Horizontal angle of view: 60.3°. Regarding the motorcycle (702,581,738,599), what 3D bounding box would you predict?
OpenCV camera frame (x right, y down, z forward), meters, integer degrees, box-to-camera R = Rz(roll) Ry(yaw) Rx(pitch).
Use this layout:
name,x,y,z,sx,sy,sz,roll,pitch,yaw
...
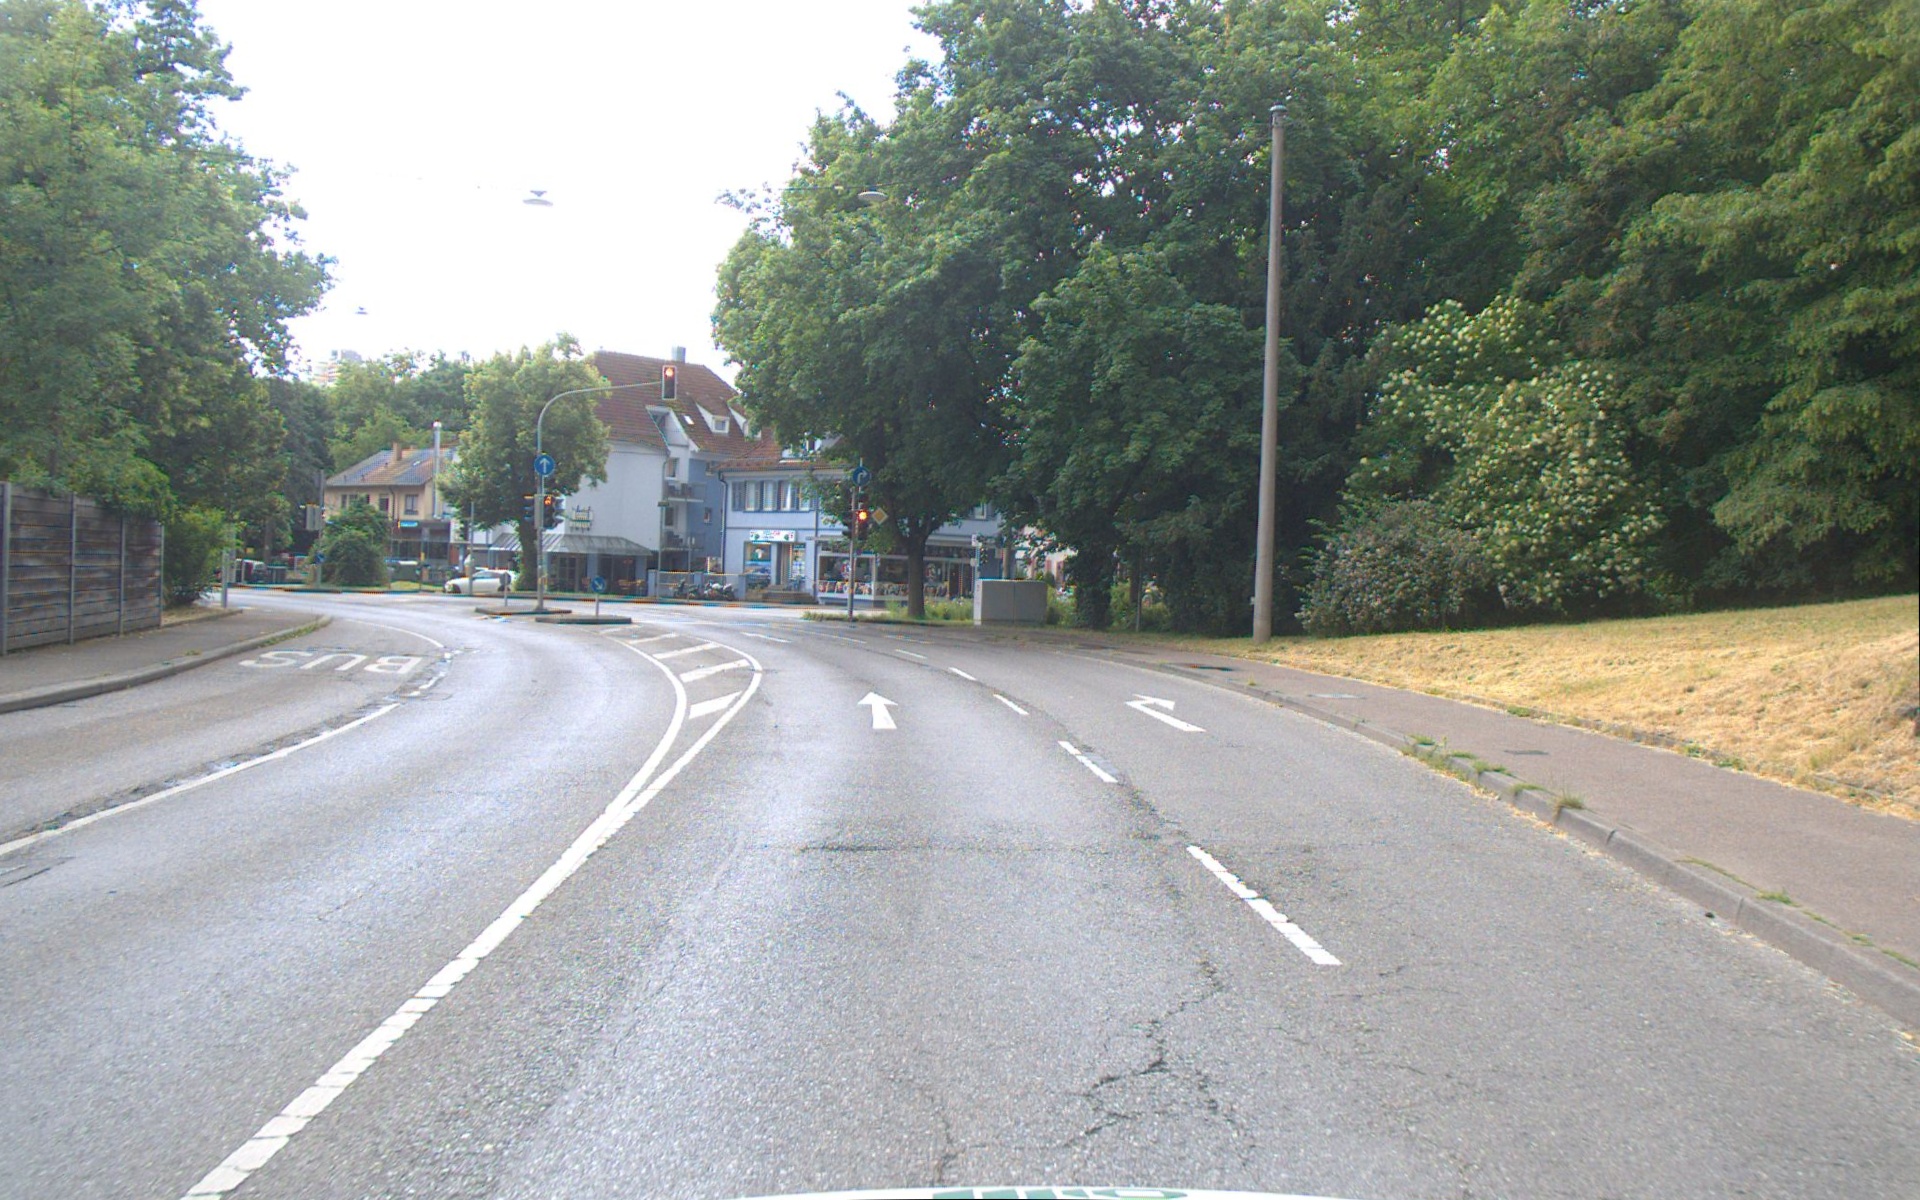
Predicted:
name,x,y,z,sx,sy,sz,roll,pitch,yaw
motorcycle,-12.813,-0.536,88.432,1.797,0.862,0.561,1,6,15

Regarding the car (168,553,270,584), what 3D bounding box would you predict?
name,x,y,z,sx,sy,sz,roll,pitch,yaw
car,-38.083,-1.607,84.989,4.480,1.544,2.002,1,1,13

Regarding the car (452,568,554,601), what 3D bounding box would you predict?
name,x,y,z,sx,sy,sz,roll,pitch,yaw
car,-22.601,-0.788,81.831,4.480,1.544,2.002,1,1,13

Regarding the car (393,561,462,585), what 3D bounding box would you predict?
name,x,y,z,sx,sy,sz,roll,pitch,yaw
car,-34.833,-1.764,108.312,3.964,1.512,1.734,0,1,-41

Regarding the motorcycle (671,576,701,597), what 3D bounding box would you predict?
name,x,y,z,sx,sy,sz,roll,pitch,yaw
motorcycle,-14.820,-0.736,89.567,1.463,1.125,0.561,0,6,11
